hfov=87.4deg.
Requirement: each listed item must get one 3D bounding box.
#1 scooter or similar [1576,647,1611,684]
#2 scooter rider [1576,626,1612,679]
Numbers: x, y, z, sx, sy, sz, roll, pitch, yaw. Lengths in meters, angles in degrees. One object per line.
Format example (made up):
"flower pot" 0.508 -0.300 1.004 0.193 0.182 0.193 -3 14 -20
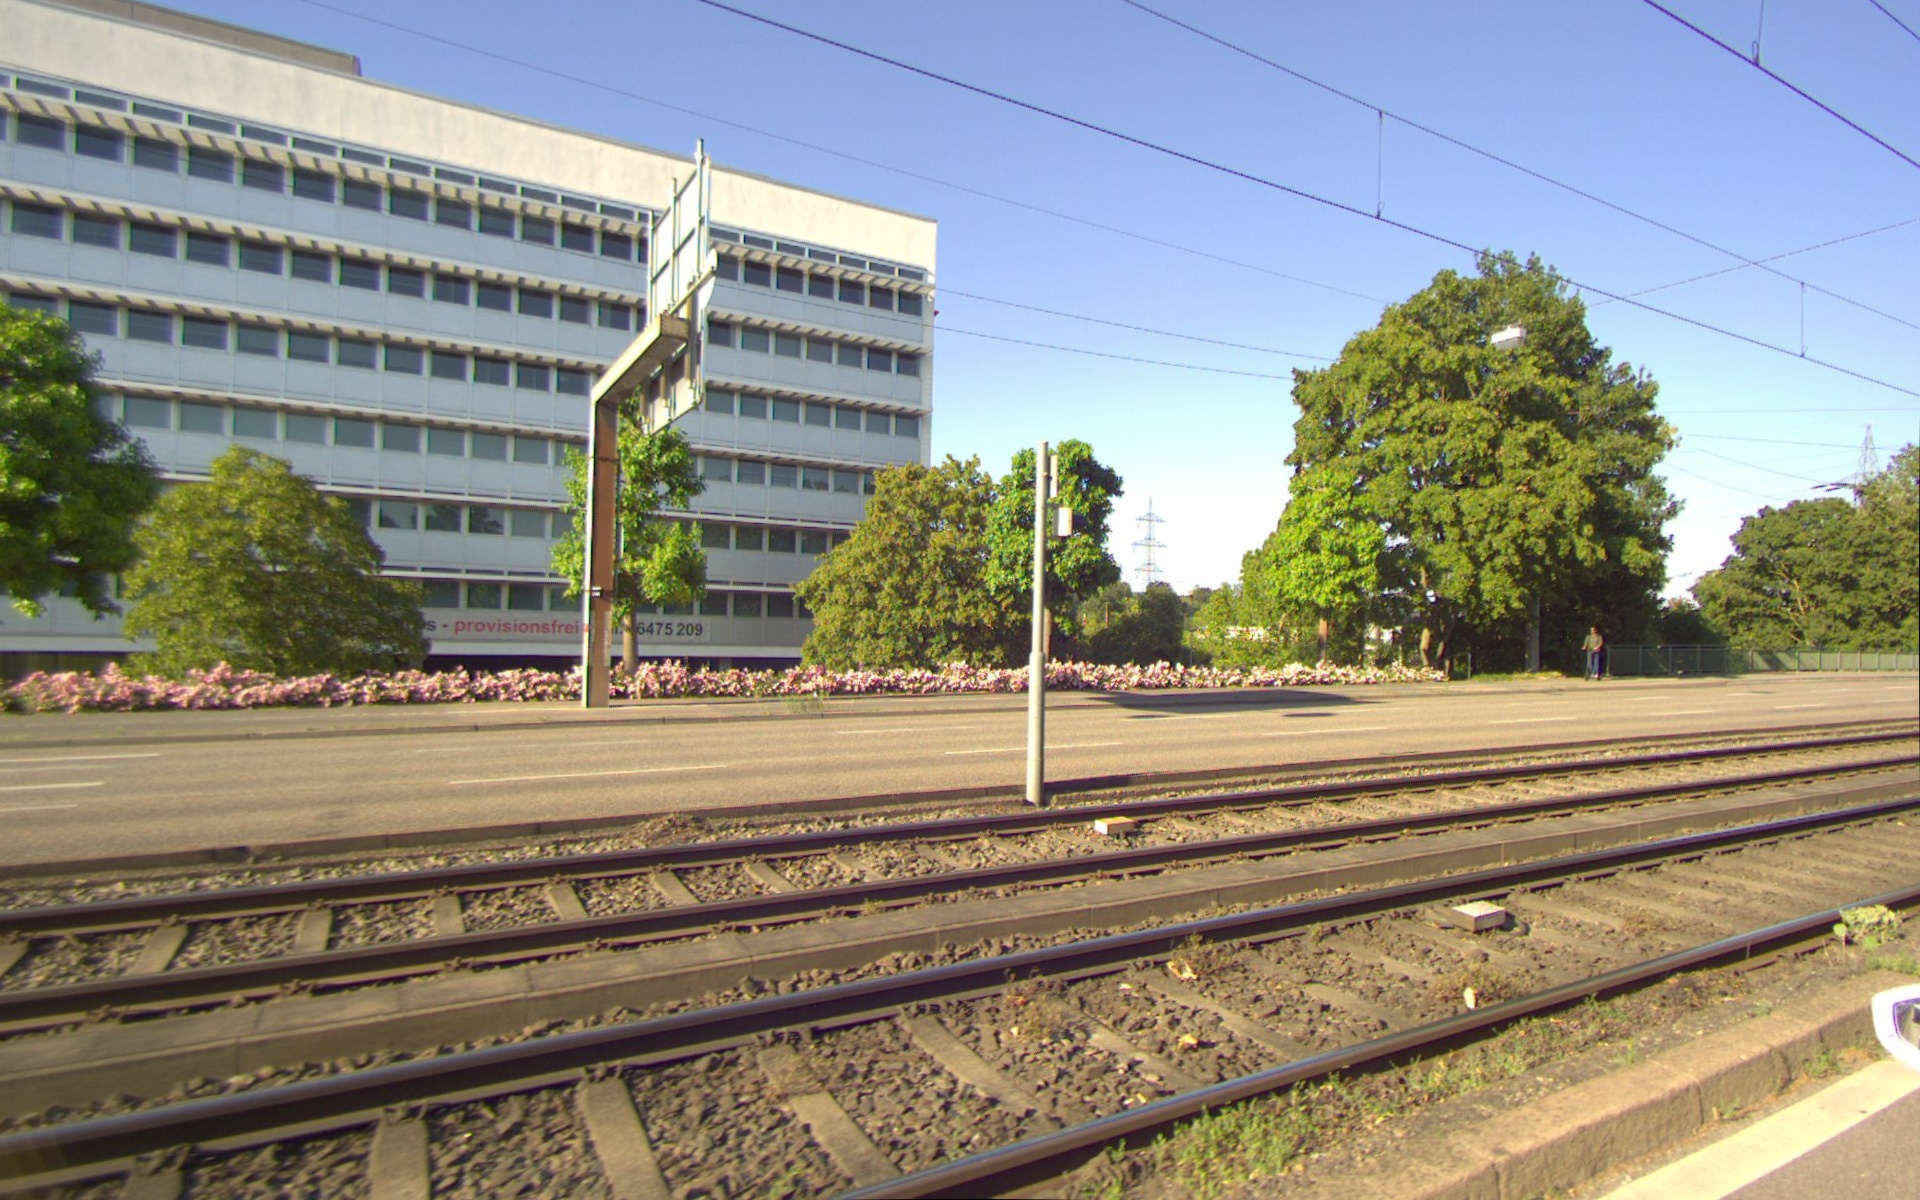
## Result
"scooter or similar" 22.929 2.357 36.353 1.244 1.313 0.470 2 -1 -24
"scooter rider" 22.968 1.901 36.399 0.986 1.873 0.681 1 -2 -23
